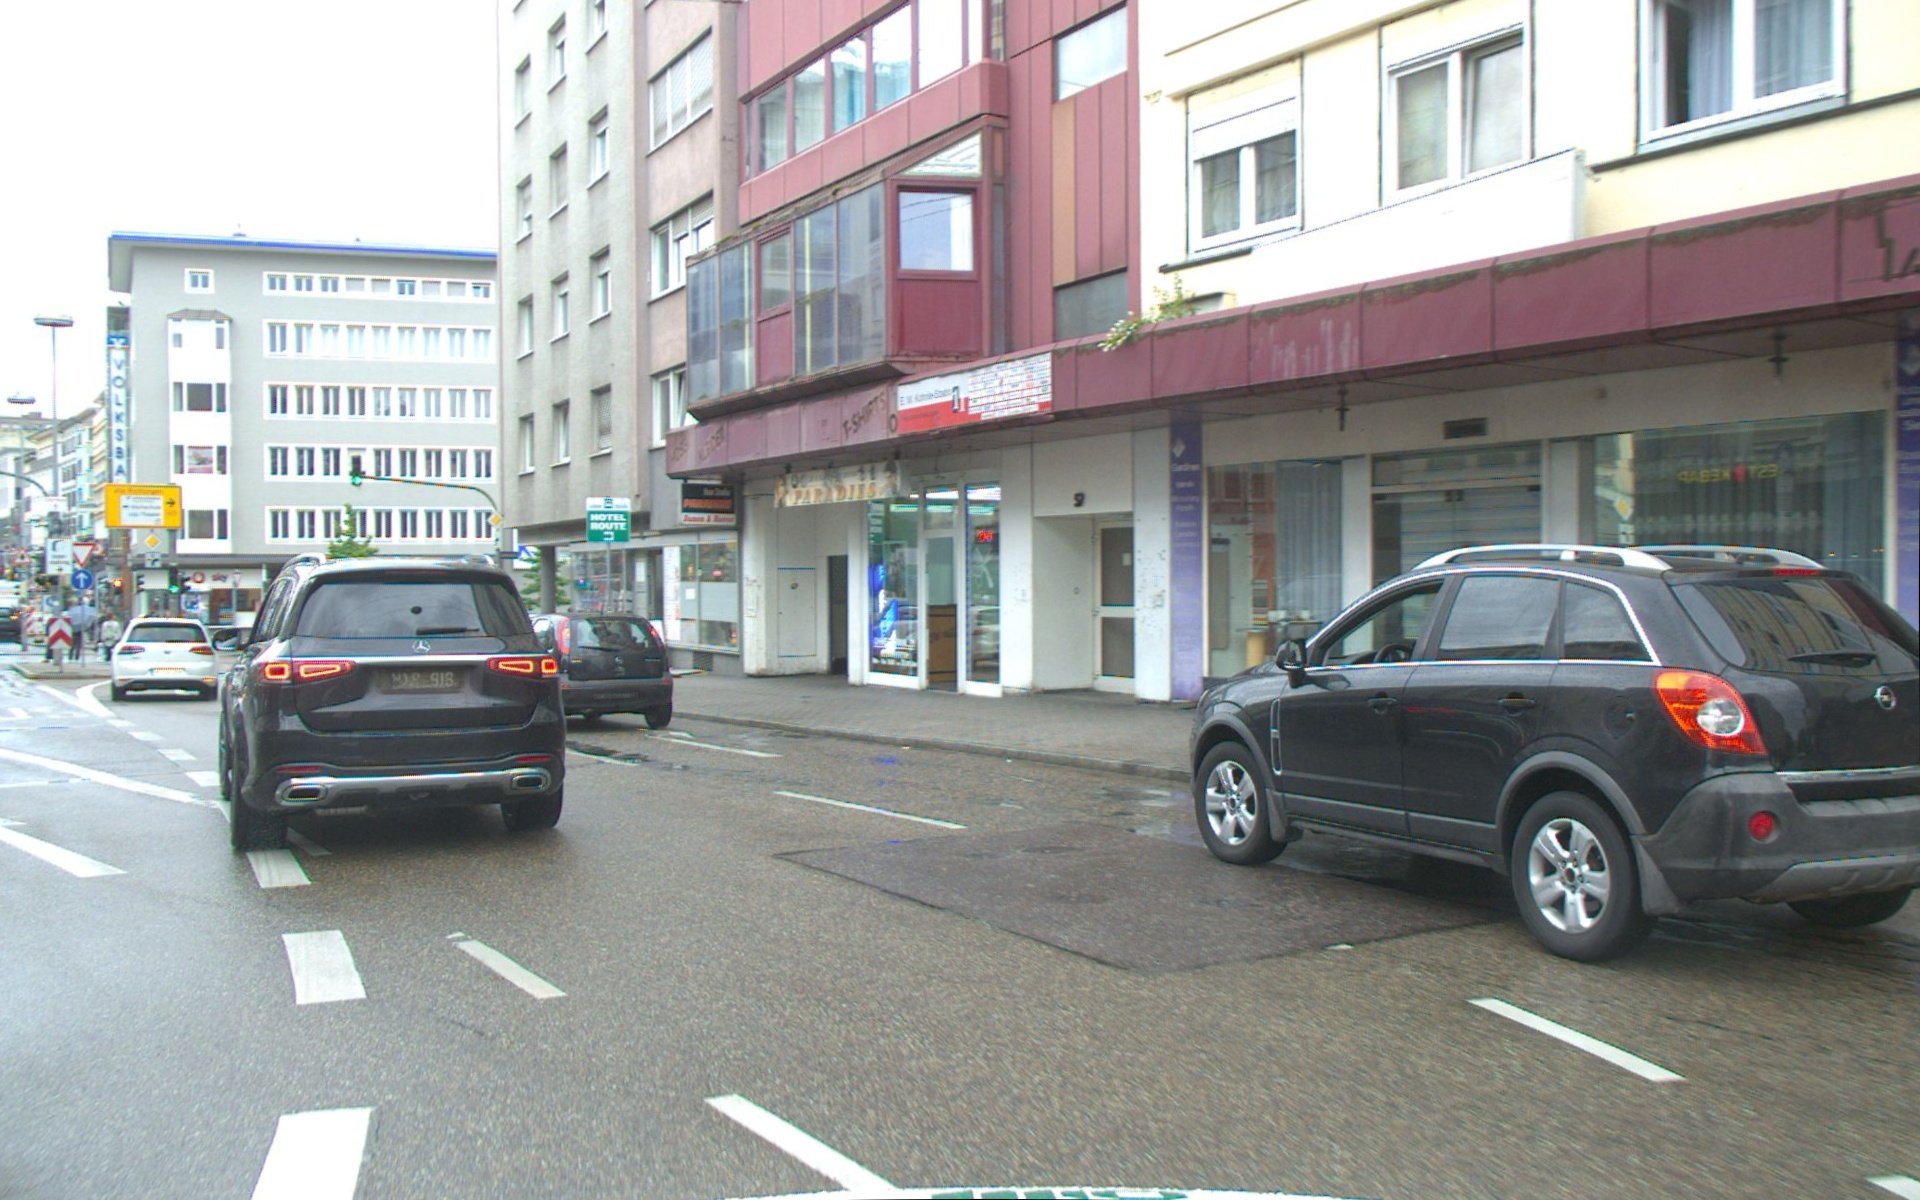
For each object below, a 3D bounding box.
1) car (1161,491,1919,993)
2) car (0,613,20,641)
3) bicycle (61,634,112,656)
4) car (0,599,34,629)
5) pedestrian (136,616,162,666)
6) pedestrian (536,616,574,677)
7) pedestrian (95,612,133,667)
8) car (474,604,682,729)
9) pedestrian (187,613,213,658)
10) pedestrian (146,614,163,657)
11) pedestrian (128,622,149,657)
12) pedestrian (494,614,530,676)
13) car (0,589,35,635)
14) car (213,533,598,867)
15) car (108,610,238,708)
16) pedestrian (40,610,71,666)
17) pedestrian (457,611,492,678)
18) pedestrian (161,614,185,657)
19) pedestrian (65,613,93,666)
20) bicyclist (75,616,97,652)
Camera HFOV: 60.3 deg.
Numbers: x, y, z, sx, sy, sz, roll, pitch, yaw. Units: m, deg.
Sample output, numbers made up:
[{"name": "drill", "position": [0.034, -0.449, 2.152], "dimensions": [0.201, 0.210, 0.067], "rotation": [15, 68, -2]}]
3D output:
[{"name": "car", "position": [2.908, 0.513, 8.338], "dimensions": [1.882, 1.817, 4.270], "rotation": [1, 0, -24]}, {"name": "car", "position": [-53.940, 1.509, 93.090], "dimensions": [1.719, 1.554, 3.960], "rotation": [2, -1, -30]}, {"name": "bicycle", "position": [-42.580, 2.187, 80.654], "dimensions": [2.104, 1.010, 0.691], "rotation": [0, -1, -18]}, {"name": "car", "position": [-60.899, 0.890, 106.515], "dimensions": [1.844, 1.858, 4.056], "rotation": [2, -2, -33]}, {"name": "pedestrian", "position": [-26.259, 1.347, 53.567], "dimensions": [0.704, 1.596, 0.847], "rotation": [2, -2, -27]}, {"name": "pedestrian", "position": [-12.019, 1.383, 49.060], "dimensions": [1.018, 1.753, 0.835], "rotation": [-2, -1, -15]}, {"name": "pedestrian", "position": [-26.687, 1.250, 52.189], "dimensions": [0.966, 1.701, 0.907], "rotation": [2, -2, -26]}, {"name": "car", "position": [-5.000, 0.839, 21.301], "dimensions": [1.697, 1.445, 3.734], "rotation": [1, -2, -28]}, {"name": "pedestrian", "position": [-30.858, 1.454, 67.142], "dimensions": [0.823, 1.810, 0.609], "rotation": [2, -2, -37]}, {"name": "pedestrian", "position": [-31.783, 1.392, 65.269], "dimensions": [0.562, 1.698, 0.498], "rotation": [1, -1, -25]}, {"name": "pedestrian", "position": [-32.286, 1.541, 65.020], "dimensions": [0.625, 1.363, 0.580], "rotation": [2, -2, -37]}, {"name": "pedestrian", "position": [-12.504, 1.265, 46.177], "dimensions": [0.727, 1.663, 0.597], "rotation": [-4, -3, 10]}, {"name": "car", "position": [-64.295, 0.837, 112.046], "dimensions": [2.422, 3.009, 6.082], "rotation": [2, -2, -33]}, {"name": "car", "position": [-4.144, 0.546, 11.774], "dimensions": [2.061, 1.849, 4.753], "rotation": [0, 0, -25]}, {"name": "car", "position": [-14.690, 1.052, 30.767], "dimensions": [1.928, 1.601, 3.962], "rotation": [2, 0, -29]}, {"name": "pedestrian", "position": [-28.469, 1.206, 52.090], "dimensions": [0.774, 1.741, 0.701], "rotation": [2, -3, -27]}, {"name": "pedestrian", "position": [-12.846, 1.174, 43.791], "dimensions": [0.613, 1.722, 0.782], "rotation": [-3, -2, 4]}, {"name": "pedestrian", "position": [-31.211, 1.406, 65.596], "dimensions": [0.770, 1.719, 0.634], "rotation": [2, -2, -23]}, {"name": "pedestrian", "position": [-28.800, 1.307, 54.077], "dimensions": [0.747, 1.722, 0.687], "rotation": [2, -3, -27]}, {"name": "bicyclist", "position": [-42.617, 1.669, 80.665], "dimensions": [0.831, 1.734, 0.620], "rotation": [0, -1, -17]}]
